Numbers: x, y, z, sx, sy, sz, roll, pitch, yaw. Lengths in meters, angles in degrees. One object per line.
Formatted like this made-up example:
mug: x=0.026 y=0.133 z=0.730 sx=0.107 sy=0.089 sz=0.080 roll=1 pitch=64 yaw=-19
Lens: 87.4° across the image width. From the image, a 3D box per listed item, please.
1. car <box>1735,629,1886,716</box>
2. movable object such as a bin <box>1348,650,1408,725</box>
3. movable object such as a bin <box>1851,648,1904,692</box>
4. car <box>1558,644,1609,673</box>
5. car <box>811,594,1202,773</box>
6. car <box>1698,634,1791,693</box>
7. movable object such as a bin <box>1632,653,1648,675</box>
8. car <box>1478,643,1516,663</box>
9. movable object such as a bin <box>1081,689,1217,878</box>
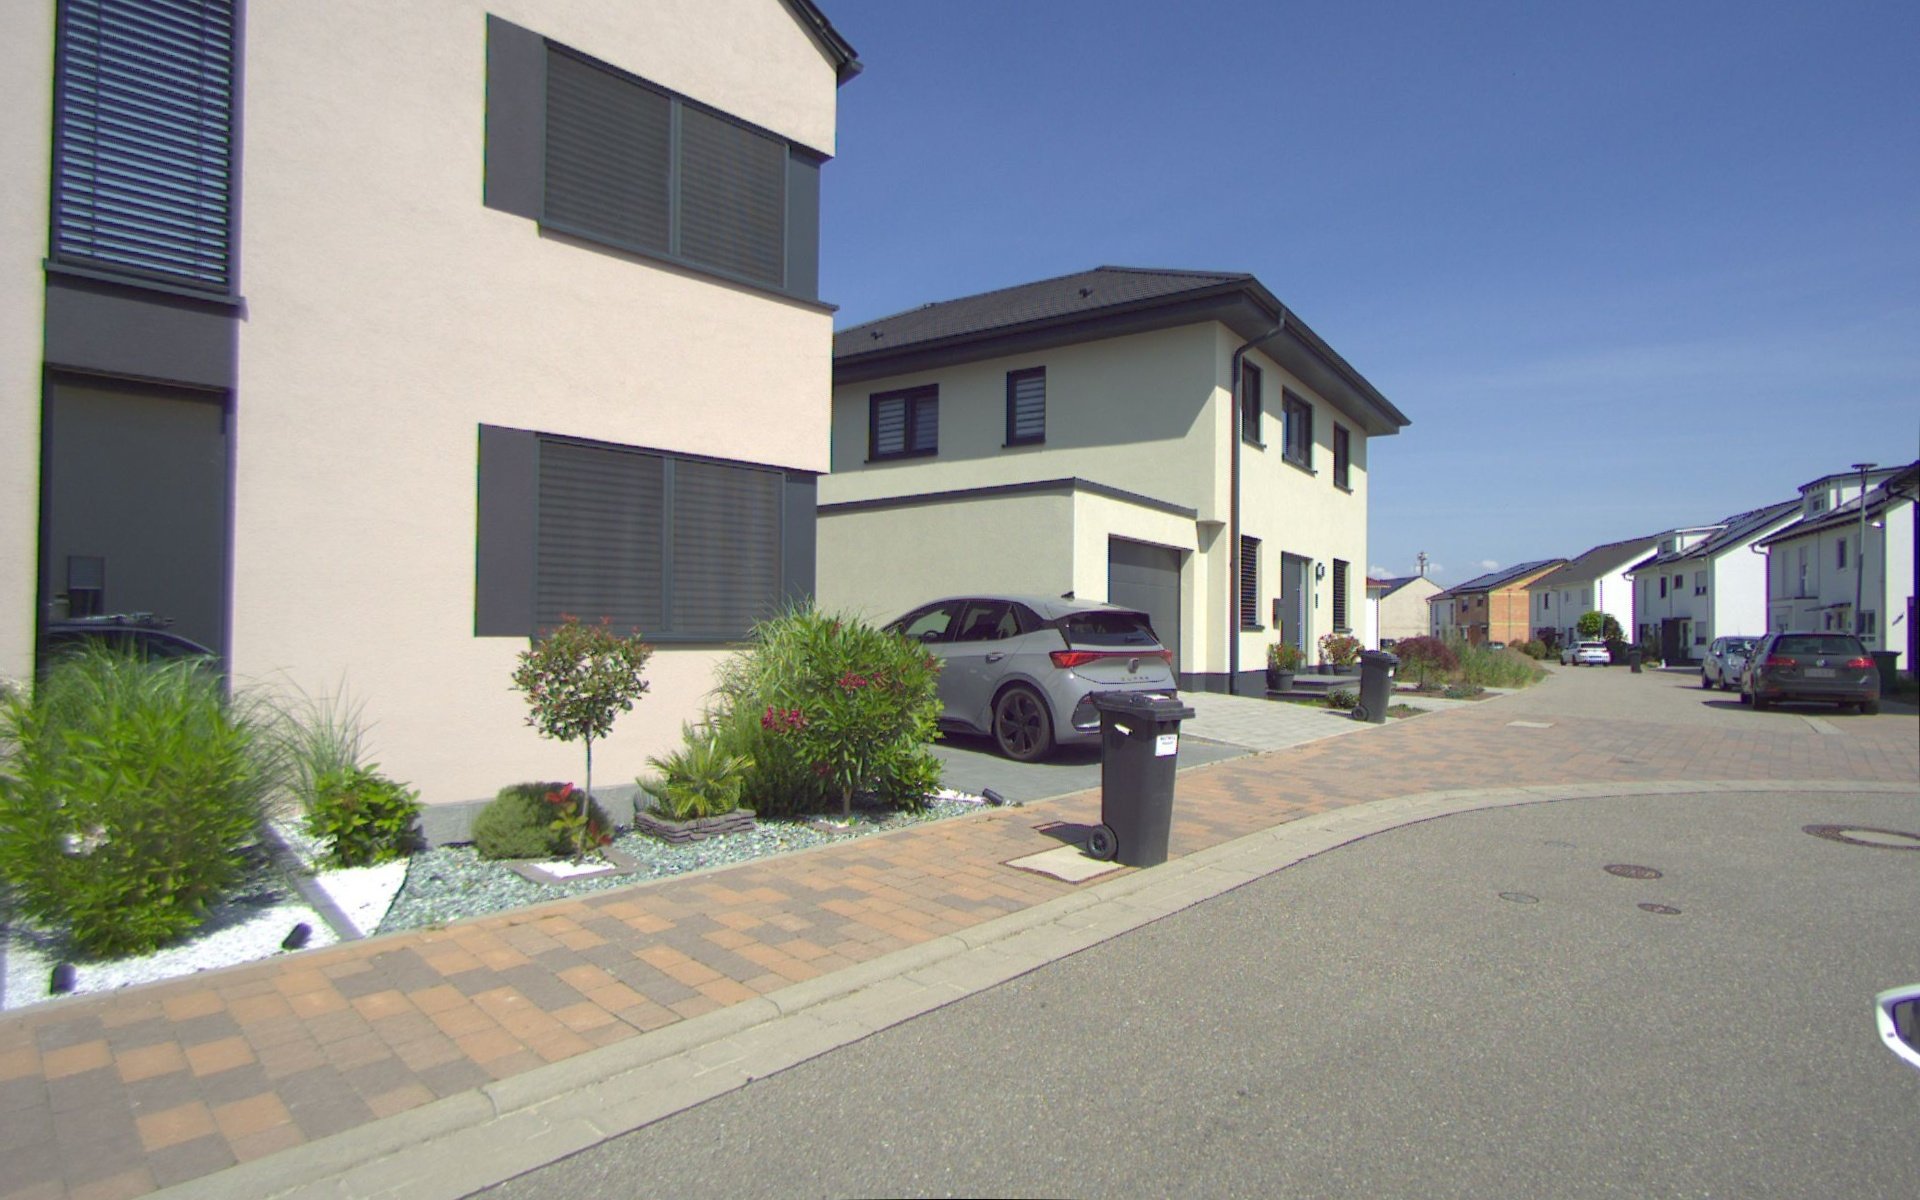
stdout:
car: x=15.749 y=1.288 z=18.796 sx=1.703 sy=1.441 sz=3.989 roll=-1 pitch=-2 yaw=34
movable object such as a bin: x=5.560 y=1.151 z=13.354 sx=0.607 sy=0.939 sz=0.421 roll=3 pitch=0 yaw=38
movable object such as a bin: x=22.791 y=1.745 z=24.961 sx=0.773 sy=1.063 sz=0.802 roll=-3 pitch=-3 yaw=31
car: x=36.492 y=3.399 z=58.878 sx=1.751 sy=1.617 sz=4.001 roll=-1 pitch=-2 yaw=20
car: x=0.335 y=0.733 z=10.483 sx=1.743 sy=1.506 sz=3.947 roll=2 pitch=-1 yaw=-45
car: x=21.279 y=1.676 z=27.376 sx=1.654 sy=1.483 sz=3.934 roll=-1 pitch=-2 yaw=33
movable object such as a bin: x=30.544 y=2.891 z=45.122 sx=0.549 sy=0.961 sz=0.246 roll=0 pitch=-2 yaw=30
car: x=42.360 y=4.164 z=79.322 sx=1.749 sy=1.505 sz=4.003 roll=0 pitch=-1 yaw=14
movable object such as a bin: x=1.071 y=1.007 z=5.713 sx=0.520 sy=0.948 sz=0.531 roll=2 pitch=0 yaw=-33
